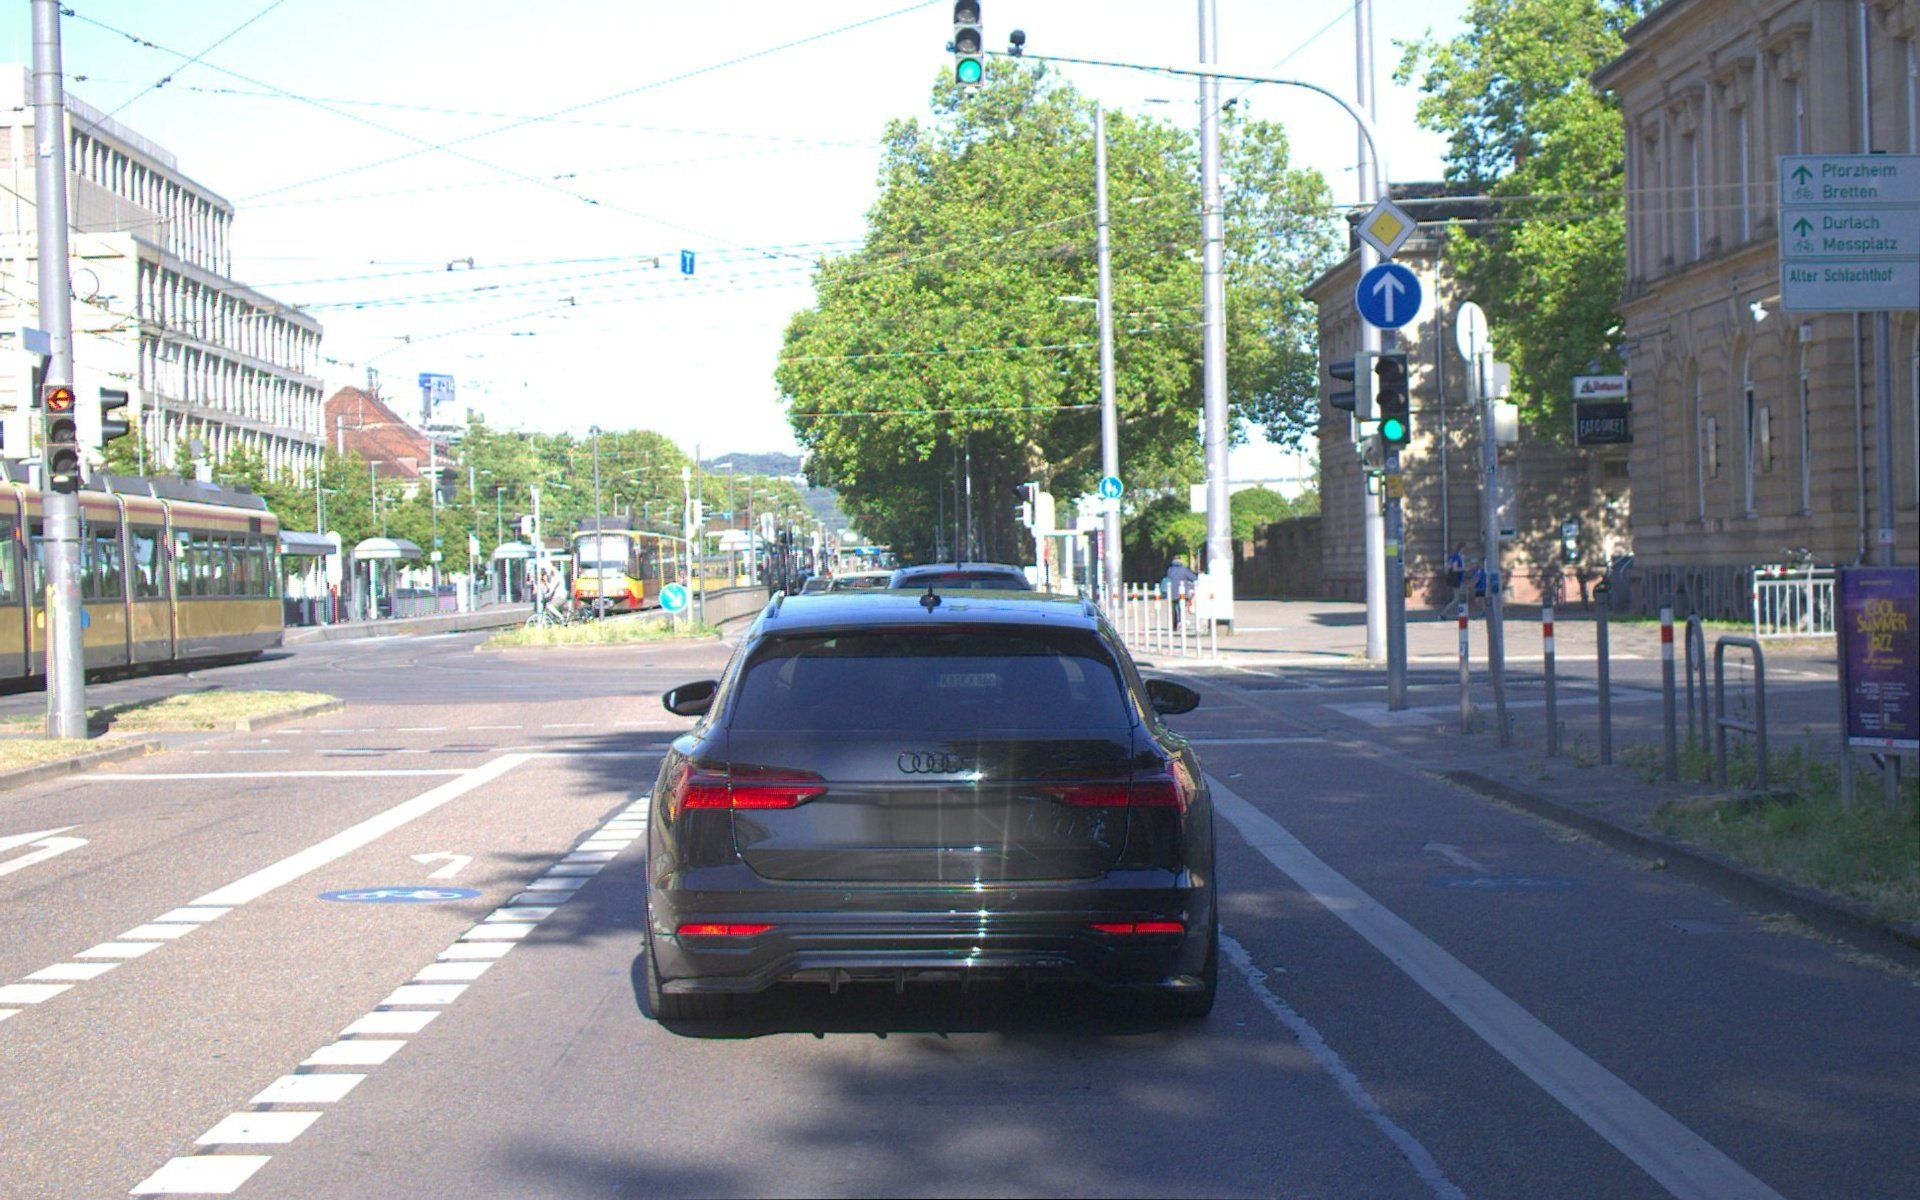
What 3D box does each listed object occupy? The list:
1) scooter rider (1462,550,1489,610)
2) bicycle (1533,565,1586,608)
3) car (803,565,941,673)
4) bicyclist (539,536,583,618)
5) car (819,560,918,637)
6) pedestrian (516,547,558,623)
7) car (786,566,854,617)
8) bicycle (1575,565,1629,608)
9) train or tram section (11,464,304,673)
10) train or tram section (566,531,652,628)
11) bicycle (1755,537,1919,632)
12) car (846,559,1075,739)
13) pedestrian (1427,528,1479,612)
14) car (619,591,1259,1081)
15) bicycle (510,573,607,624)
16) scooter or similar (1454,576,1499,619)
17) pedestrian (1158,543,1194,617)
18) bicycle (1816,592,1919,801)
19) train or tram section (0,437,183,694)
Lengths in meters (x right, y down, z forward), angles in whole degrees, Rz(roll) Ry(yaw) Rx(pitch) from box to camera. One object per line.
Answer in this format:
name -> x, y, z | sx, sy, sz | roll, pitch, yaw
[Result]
scooter rider -> 12.087, -0.471, 80.618 | 0.484, 1.381, 0.377 | -3, -1, -3
bicycle -> 15.085, -0.350, 86.564 | 0.526, 1.043, 2.360 | -2, 1, -9
car -> -1.255, 0.244, 49.861 | 1.902, 1.481, 4.145 | -1, 1, -1
bicyclist -> -9.026, -0.521, 77.782 | 0.756, 1.812, 0.765 | -2, 1, -22
car -> -1.810, -0.042, 68.986 | 1.902, 1.481, 4.145 | -1, 1, -1
pedestrian -> -9.753, -0.343, 79.176 | 0.740, 1.735, 0.664 | -2, 1, -25
car -> -4.175, -0.267, 102.969 | 1.902, 1.481, 4.145 | -1, 1, -1
bicycle -> 16.151, -0.352, 86.559 | 0.526, 1.043, 2.360 | -2, 1, -9
train or tram section -> -14.798, -0.593, 64.497 | 2.813, 3.477, 12.154 | -2, 1, -1
train or tram section -> -13.213, -0.793, 130.242 | 2.608, 3.439, 11.133 | -2, 1, -3
bicycle -> 12.236, -0.218, 47.800 | 2.136, 1.205, 0.765 | -3, 1, -3
car -> -0.023, 0.389, 30.866 | 1.902, 1.481, 4.145 | -1, 1, -1
pedestrian -> 11.132, -0.679, 77.679 | 0.979, 1.859, 0.827 | -2, 1, -2
car -> -0.092, 0.703, 12.393 | 1.902, 1.417, 4.145 | -1, 1, -1
bicycle -> -9.083, -0.038, 77.752 | 2.005, 1.104, 0.765 | -2, 1, -22
scooter or similar -> 12.103, -0.065, 80.613 | 0.938, 0.963, 0.361 | -3, -1, -3
pedestrian -> 4.937, -0.460, 78.579 | 0.682, 1.655, 0.758 | -2, 1, -3
bicycle -> 5.187, 0.500, 18.541 | 0.540, 1.058, 1.772 | -2, 1, -5
train or tram section -> -14.524, -0.483, 51.824 | 2.813, 3.477, 13.204 | -2, 1, -1
